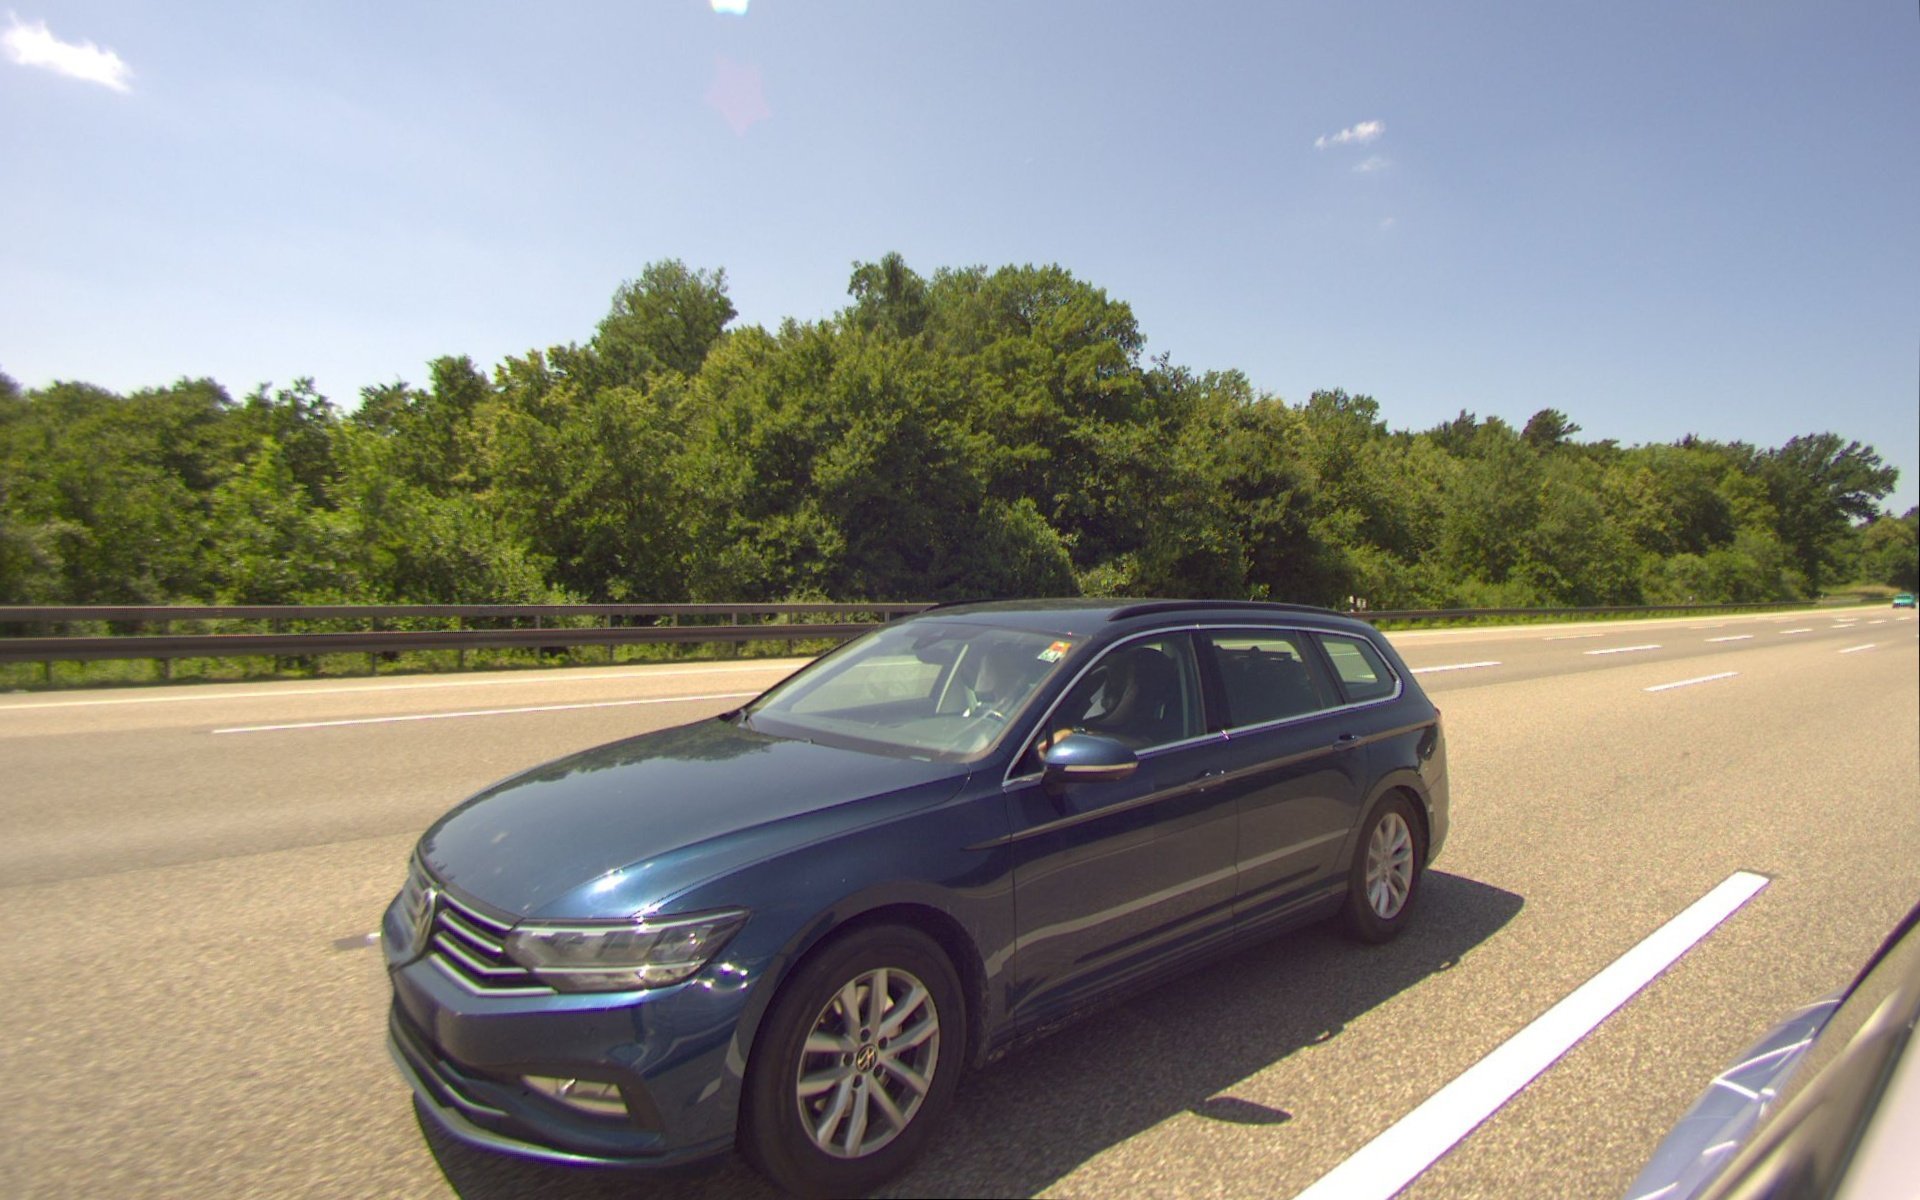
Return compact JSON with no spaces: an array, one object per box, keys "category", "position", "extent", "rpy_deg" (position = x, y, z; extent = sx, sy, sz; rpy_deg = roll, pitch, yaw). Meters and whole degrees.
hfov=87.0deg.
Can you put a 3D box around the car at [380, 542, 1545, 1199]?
[{"category":"car","position":[0.528,0.585,4.199],"extent":[4.873,1.465,1.733],"rpy_deg":[0,2,-40]}]

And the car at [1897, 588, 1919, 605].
[{"category":"car","position":[98.105,-0.373,104.083],"extent":[4.053,1.701,1.999],"rpy_deg":[-1,3,-39]}]
